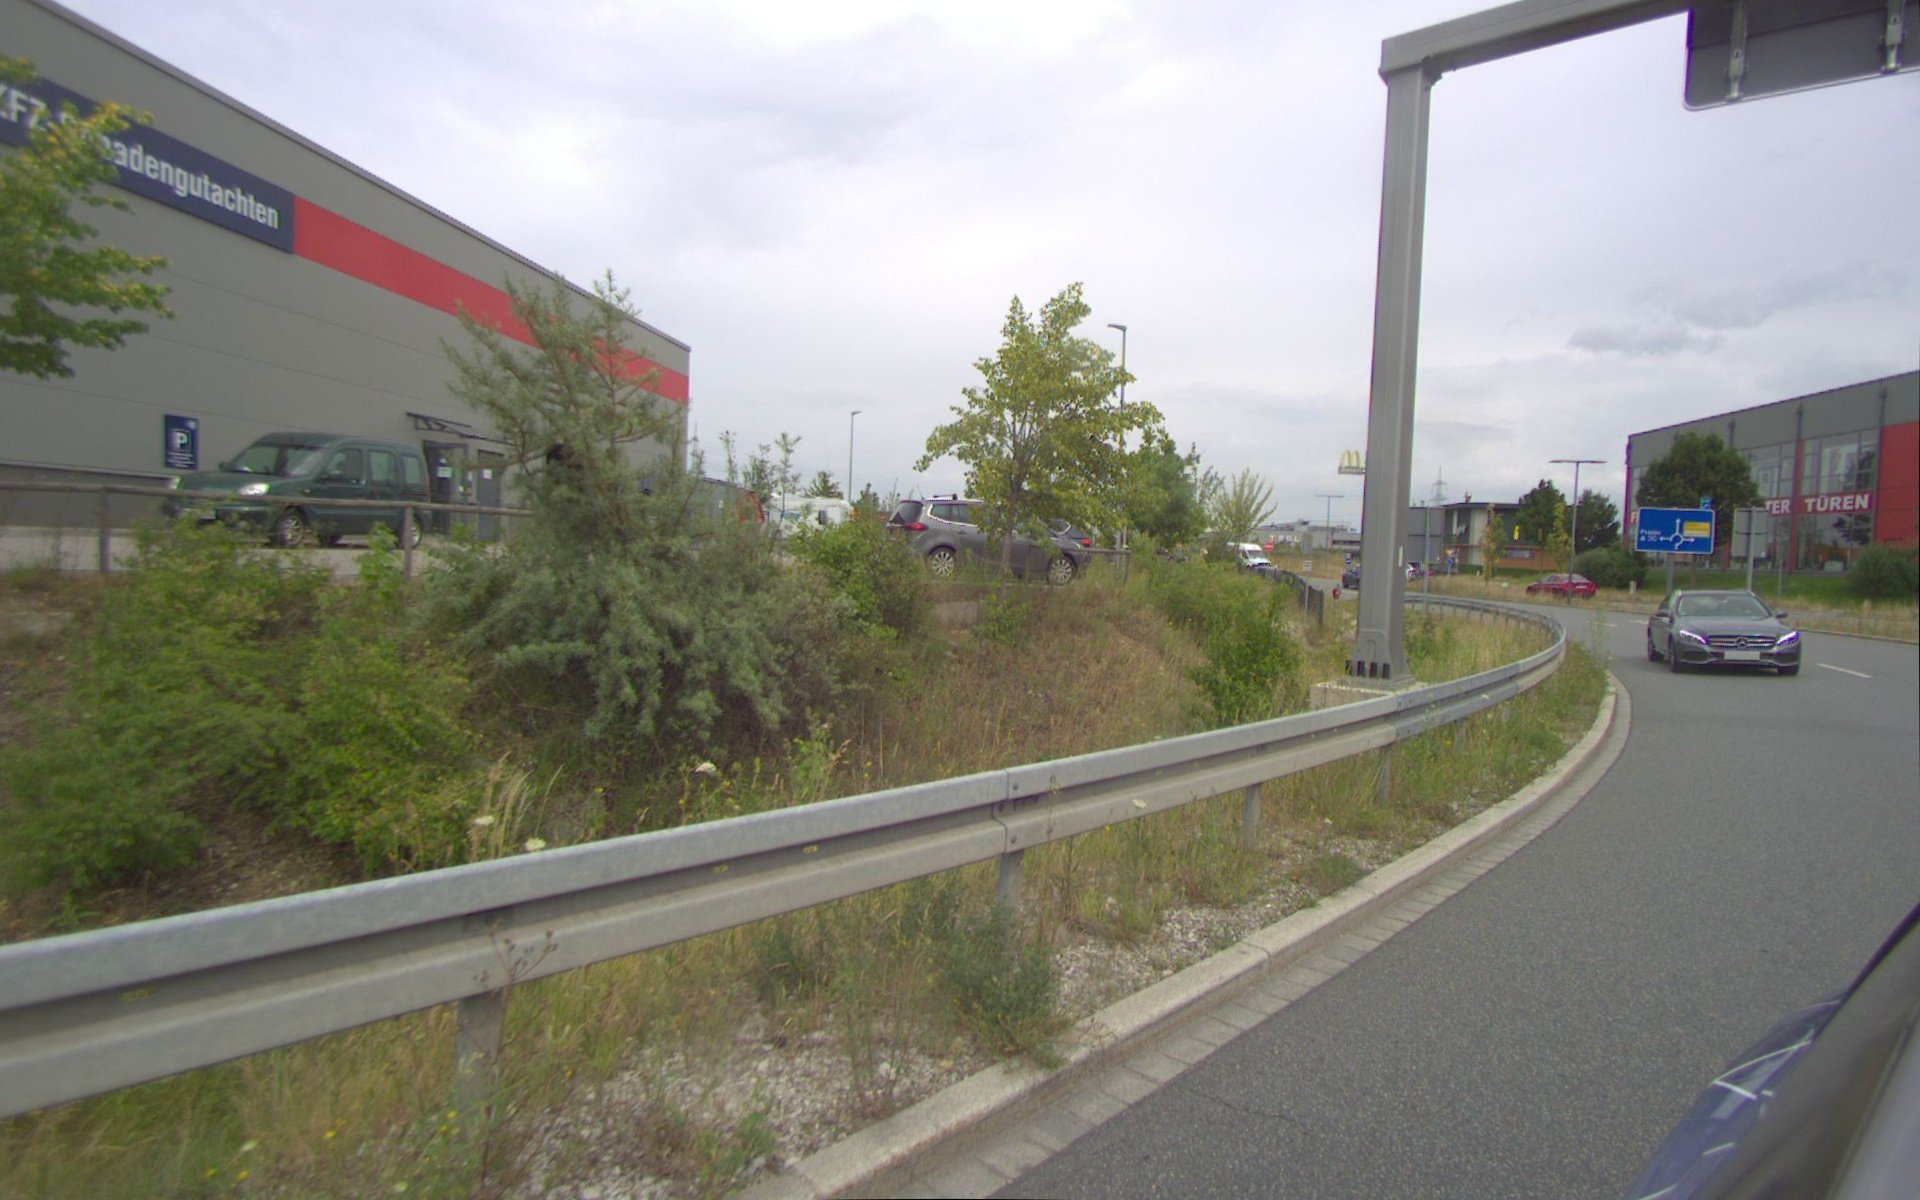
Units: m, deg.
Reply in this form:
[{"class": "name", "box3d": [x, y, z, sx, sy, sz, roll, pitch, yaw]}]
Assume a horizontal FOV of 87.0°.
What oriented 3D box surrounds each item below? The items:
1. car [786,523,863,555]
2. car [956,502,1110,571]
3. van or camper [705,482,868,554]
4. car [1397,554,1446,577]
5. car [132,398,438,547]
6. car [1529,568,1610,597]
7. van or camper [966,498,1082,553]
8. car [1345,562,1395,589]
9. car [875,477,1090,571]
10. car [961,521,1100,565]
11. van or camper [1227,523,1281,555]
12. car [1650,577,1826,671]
[{"class": "car", "box3d": [-7.711, -3.481, 57.671, 3.999, 1.742, 1.774, 1, 2, 12]}, {"class": "car", "box3d": [1.847, -1.605, 25.978, 3.657, 1.673, 1.521, -1, 1, -10]}, {"class": "van or camper", "box3d": [-8.695, -4.094, 51.012, 7.606, 3.217, 2.489, 3, 2, 7]}, {"class": "car", "box3d": [36.008, -2.677, 79.111, 1.880, 1.646, 4.635, -1, 2, 3]}, {"class": "car", "box3d": [-9.931, -1.789, 15.306, 1.676, 1.832, 3.966, 5, 3, 6]}, {"class": "car", "box3d": [33.815, -0.995, 56.294, 1.765, 1.465, 4.968, -1, 2, 4]}, {"class": "van or camper", "box3d": [2.643, -2.972, 41.221, 4.587, 2.022, 1.814, 0, 2, -35]}, {"class": "car", "box3d": [28.007, -1.708, 69.255, 1.809, 1.740, 4.000, -1, 2, 1]}, {"class": "car", "box3d": [0.460, -1.535, 21.107, 4.083, 1.804, 1.808, -2, 1, -23]}, {"class": "car", "box3d": [2.459, -1.984, 35.444, 4.492, 1.417, 1.708, 0, 3, -18]}, {"class": "van or camper", "box3d": [25.963, -5.408, 89.617, 2.287, 2.682, 6.057, 0, 3, -8]}, {"class": "car", "box3d": [14.257, 0.365, 18.810, 1.890, 1.516, 4.296, 0, 1, 28]}]
